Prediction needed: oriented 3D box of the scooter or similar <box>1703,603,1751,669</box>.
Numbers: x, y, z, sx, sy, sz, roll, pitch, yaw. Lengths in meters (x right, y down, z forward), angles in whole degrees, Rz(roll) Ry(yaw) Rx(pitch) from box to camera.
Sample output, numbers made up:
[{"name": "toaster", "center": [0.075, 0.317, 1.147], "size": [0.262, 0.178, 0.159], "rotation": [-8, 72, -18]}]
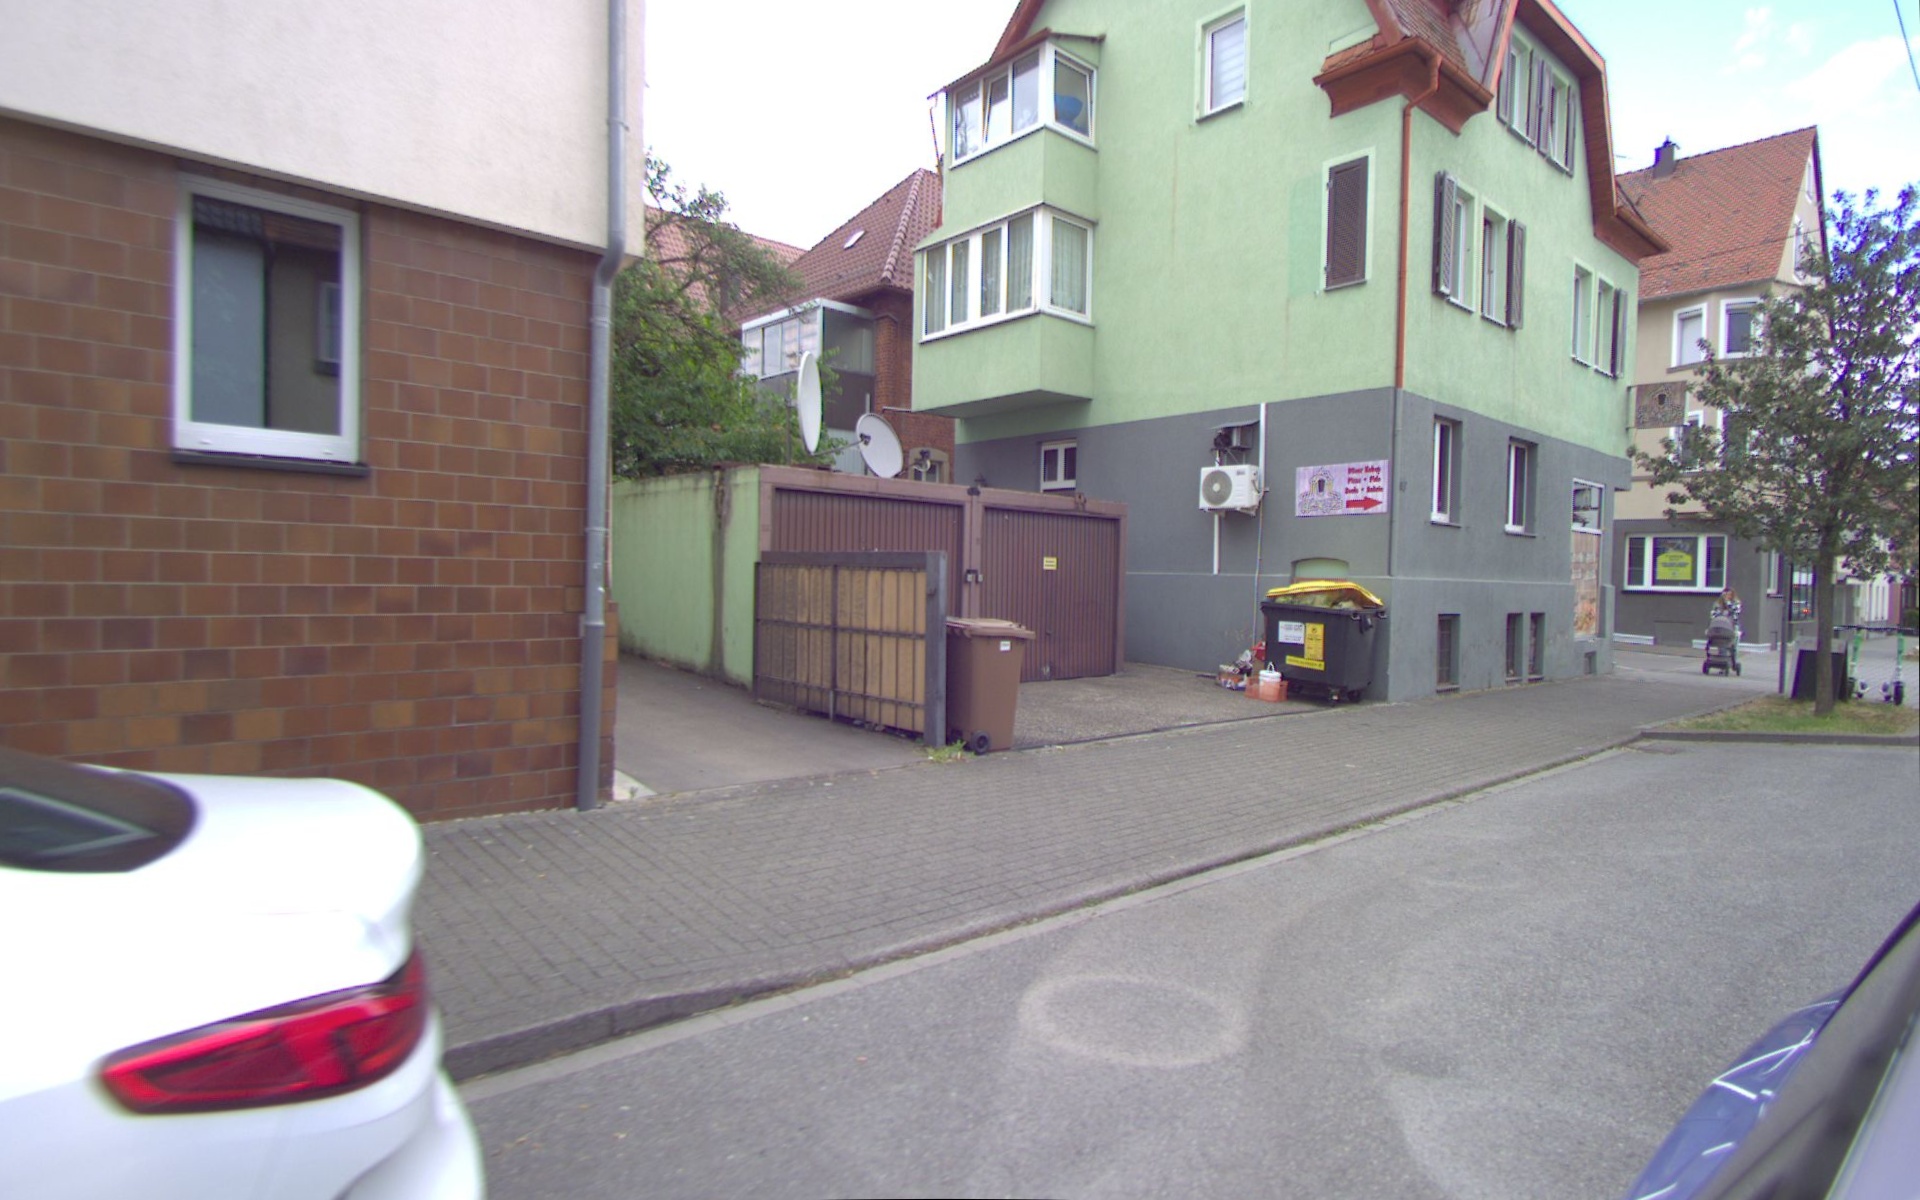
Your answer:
[{"name": "scooter or similar", "center": [15.123, 0.699, 19.941], "size": [0.876, 1.248, 0.590], "rotation": [0, 0, -42]}]

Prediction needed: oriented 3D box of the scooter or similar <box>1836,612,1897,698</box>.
[{"name": "scooter or similar", "center": [14.236, 0.829, 15.878], "size": [1.909, 1.251, 0.502], "rotation": [0, 1, -42]}]

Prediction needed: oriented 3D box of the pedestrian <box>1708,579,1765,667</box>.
[{"name": "pedestrian", "center": [15.774, 0.441, 20.564], "size": [0.884, 1.741, 0.751], "rotation": [0, 0, -41]}]

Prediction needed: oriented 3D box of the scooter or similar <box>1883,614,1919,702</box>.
[{"name": "scooter or similar", "center": [14.589, 0.849, 15.476], "size": [1.909, 1.251, 0.502], "rotation": [0, 1, -42]}]

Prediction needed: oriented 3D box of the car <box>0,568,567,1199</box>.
[{"name": "car", "center": [-2.708, 0.688, 0.596], "size": [4.259, 1.464, 1.833], "rotation": [0, 1, -44]}]
